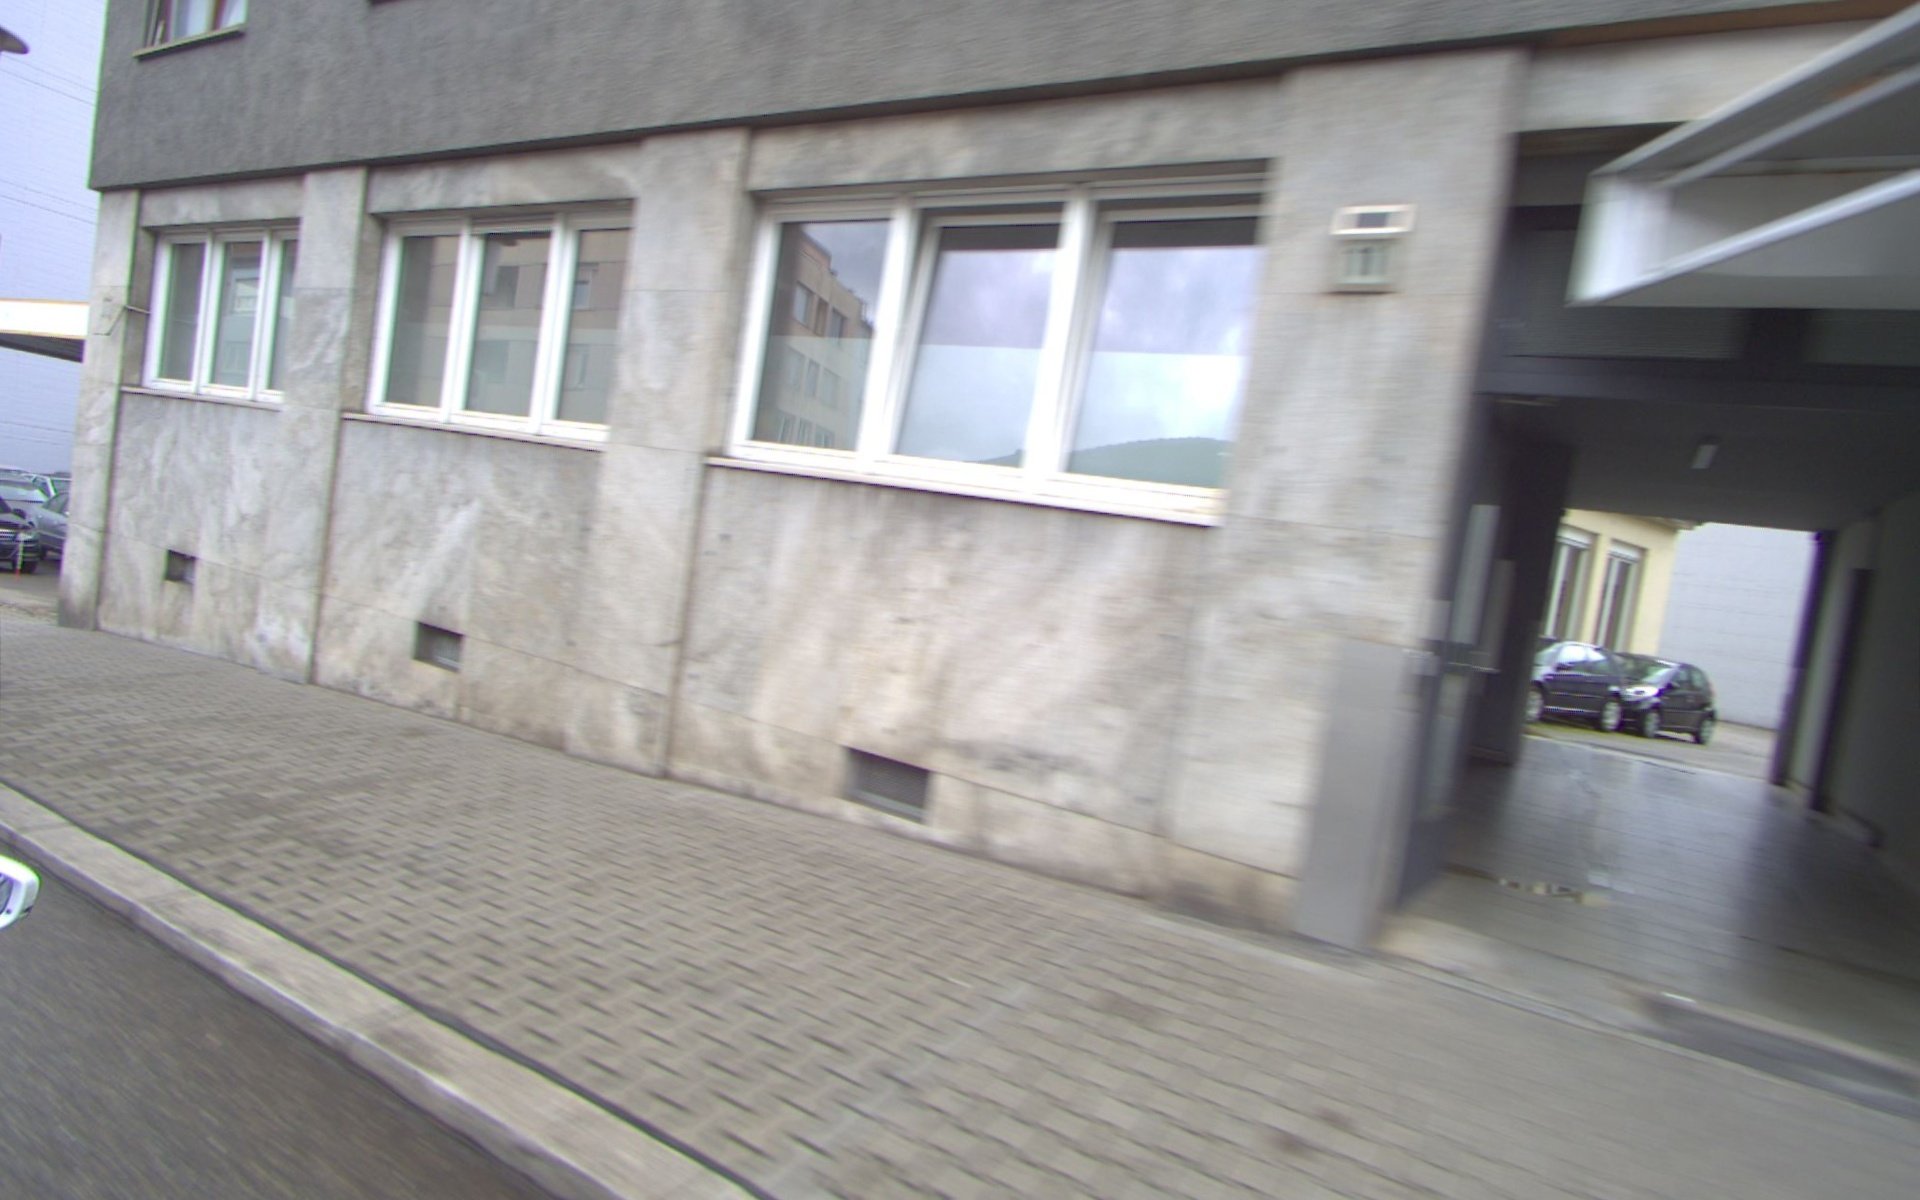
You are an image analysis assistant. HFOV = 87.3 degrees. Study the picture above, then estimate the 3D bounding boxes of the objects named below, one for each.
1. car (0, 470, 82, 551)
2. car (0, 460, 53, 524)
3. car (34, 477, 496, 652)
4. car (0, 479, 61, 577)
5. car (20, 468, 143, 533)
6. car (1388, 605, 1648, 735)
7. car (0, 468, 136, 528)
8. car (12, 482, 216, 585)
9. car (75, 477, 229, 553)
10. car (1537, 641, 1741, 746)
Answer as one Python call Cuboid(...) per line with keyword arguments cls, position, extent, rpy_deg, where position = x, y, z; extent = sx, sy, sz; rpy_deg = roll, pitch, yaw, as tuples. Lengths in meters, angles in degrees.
Cuboid(cls="car", position=(-21.201, -2.030, 22.342), extent=(3.336, 1.530, 1.530), rpy_deg=(5, -1, 31))
Cuboid(cls="car", position=(-28.301, -3.213, 29.036), extent=(3.797, 1.616, 1.649), rpy_deg=(6, -1, 23))
Cuboid(cls="car", position=(-8.796, -0.343, 13.194), extent=(1.856, 1.529, 4.499), rpy_deg=(7, -2, 33))
Cuboid(cls="car", position=(-17.340, -1.421, 17.035), extent=(4.409, 1.495, 1.800), rpy_deg=(7, -1, 30))
Cuboid(cls="car", position=(-26.961, -3.049, 30.868), extent=(3.331, 1.616, 1.454), rpy_deg=(6, -1, 23))
Cuboid(cls="car", position=(9.244, 1.179, 16.575), extent=(4.359, 1.438, 1.725), rpy_deg=(9, 3, -33))
Cuboid(cls="car", position=(-23.966, -2.728, 26.988), extent=(3.331, 1.216, 1.454), rpy_deg=(6, -1, 23))
Cuboid(cls="car", position=(-16.443, -1.307, 19.493), extent=(4.413, 1.495, 1.798), rpy_deg=(7, 0, 34))
Cuboid(cls="car", position=(-20.323, -2.138, 25.301), extent=(3.458, 1.530, 1.556), rpy_deg=(5, -1, 25))
Cuboid(cls="car", position=(12.794, 1.770, 18.926), extent=(3.621, 1.354, 1.725), rpy_deg=(9, 3, -33))
